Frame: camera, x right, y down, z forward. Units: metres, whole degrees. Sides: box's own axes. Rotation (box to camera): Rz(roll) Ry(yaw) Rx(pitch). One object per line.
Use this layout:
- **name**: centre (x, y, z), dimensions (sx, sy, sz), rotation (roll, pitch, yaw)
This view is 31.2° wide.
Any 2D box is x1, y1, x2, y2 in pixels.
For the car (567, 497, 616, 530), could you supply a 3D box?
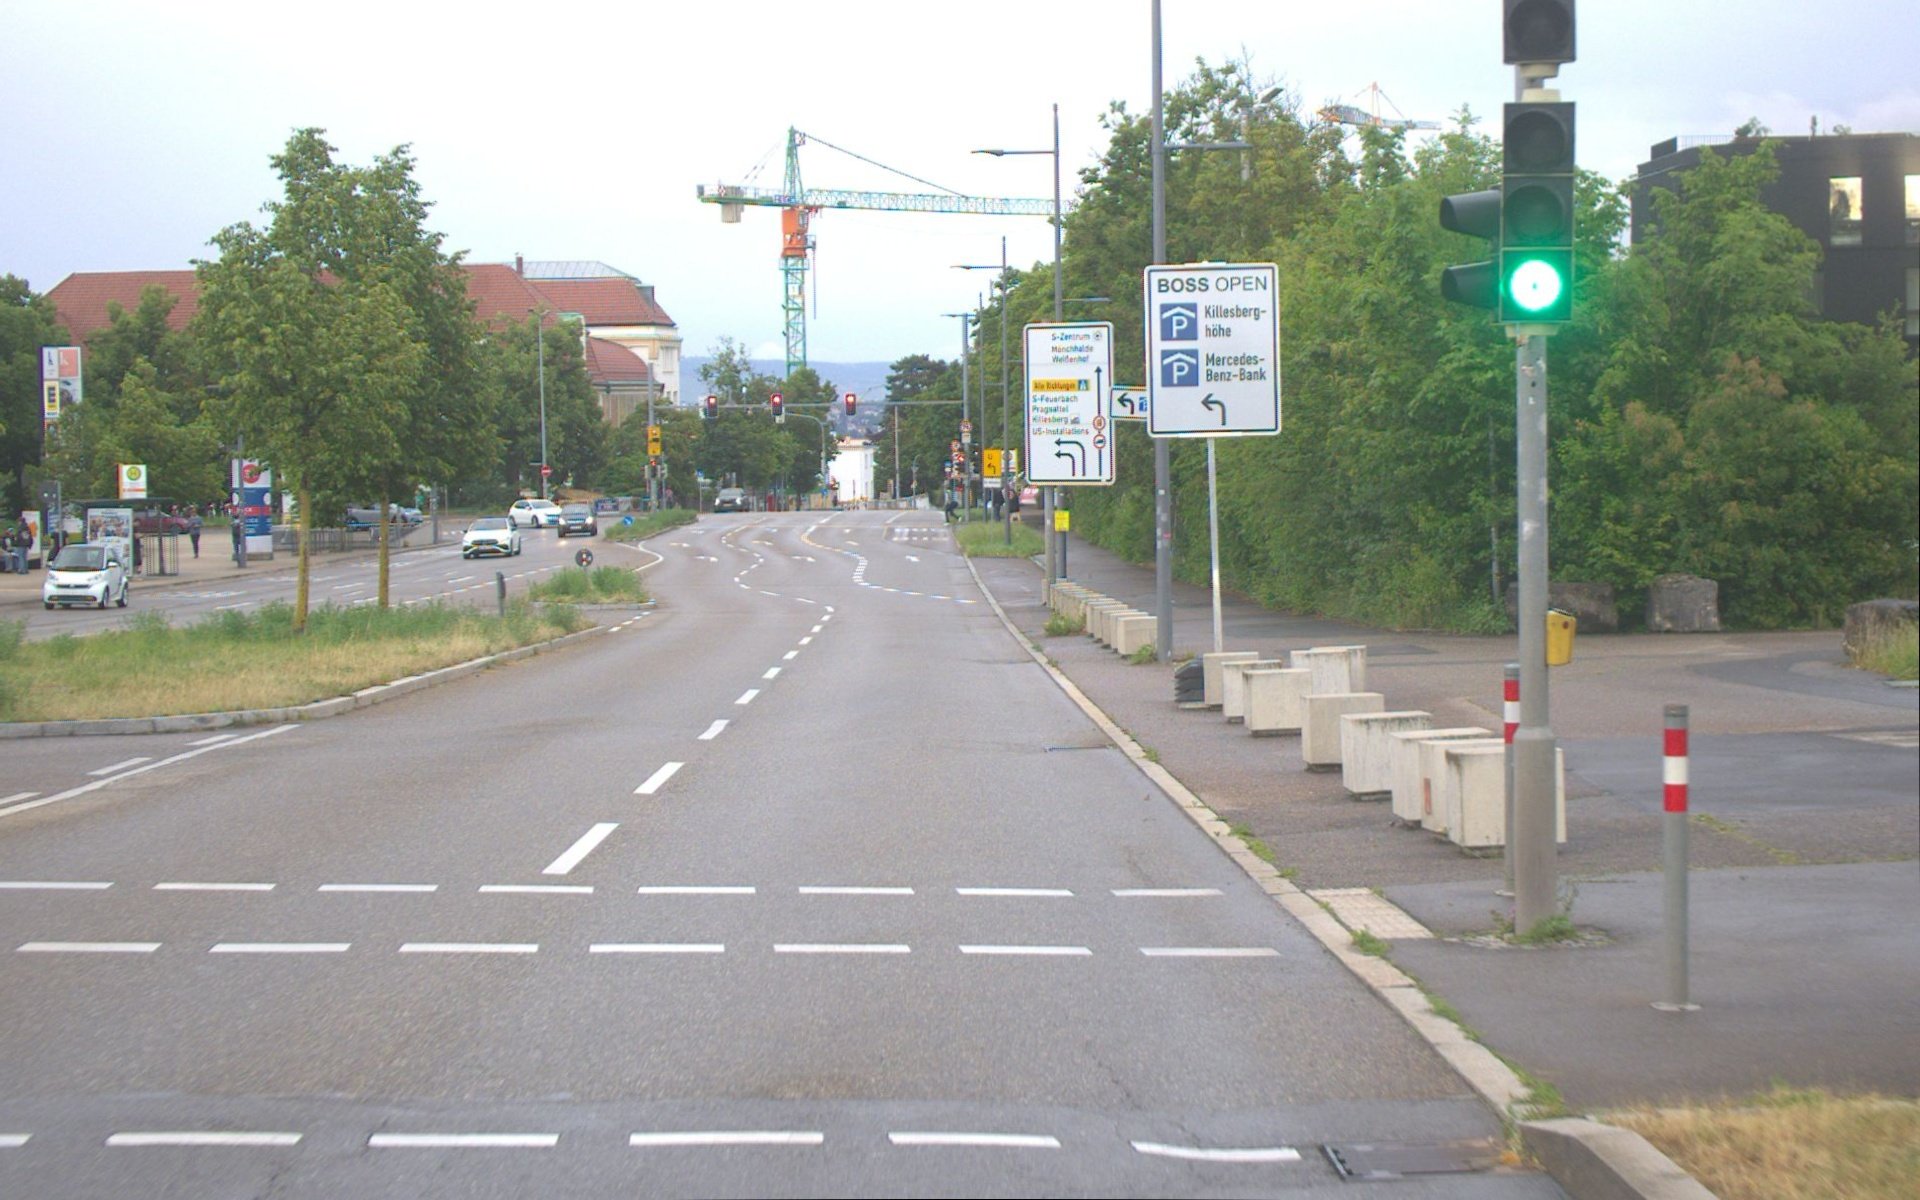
- **car**: centre (-17.040, -3.997, 159.076), dimensions (1.846, 1.457, 3.867), rotation (-2, 1, -1)

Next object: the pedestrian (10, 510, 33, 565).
- **pedestrian**: centre (-29.540, -1.974, 108.194), dimensions (0.524, 1.719, 0.566), rotation (-1, 2, 2)

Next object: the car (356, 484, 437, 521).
- **car**: centre (-29.968, -5.188, 182.868), dimensions (3.995, 1.872, 1.996), rotation (1, 1, 36)

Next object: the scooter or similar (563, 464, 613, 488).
- **scooter or similar**: centre (-23.998, -7.988, 221.679), dimensions (3.087, 1.435, 0.949), rotation (-1, 2, -2)

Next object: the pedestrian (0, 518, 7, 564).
- **pedestrian**: centre (-30.496, -1.871, 108.913), dimensions (0.426, 1.446, 0.510), rotation (-1, 2, 0)

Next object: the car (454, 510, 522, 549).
- **car**: centre (-17.646, -2.646, 128.659), dimensions (1.993, 1.413, 4.513), rotation (0, 1, -1)

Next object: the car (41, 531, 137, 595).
- **car**: centre (-21.173, -0.913, 83.669), dimensions (1.613, 1.503, 2.973), rotation (0, 1, -1)

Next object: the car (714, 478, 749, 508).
- **car**: centre (-14.656, -6.845, 220.326), dimensions (1.993, 1.831, 4.000), rotation (1, 1, 0)

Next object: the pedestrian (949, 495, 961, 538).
- **pedestrian**: centre (-0.246, -3.955, 163.069), dimensions (0.401, 2.006, 0.513), rotation (-3, 2, 5)
